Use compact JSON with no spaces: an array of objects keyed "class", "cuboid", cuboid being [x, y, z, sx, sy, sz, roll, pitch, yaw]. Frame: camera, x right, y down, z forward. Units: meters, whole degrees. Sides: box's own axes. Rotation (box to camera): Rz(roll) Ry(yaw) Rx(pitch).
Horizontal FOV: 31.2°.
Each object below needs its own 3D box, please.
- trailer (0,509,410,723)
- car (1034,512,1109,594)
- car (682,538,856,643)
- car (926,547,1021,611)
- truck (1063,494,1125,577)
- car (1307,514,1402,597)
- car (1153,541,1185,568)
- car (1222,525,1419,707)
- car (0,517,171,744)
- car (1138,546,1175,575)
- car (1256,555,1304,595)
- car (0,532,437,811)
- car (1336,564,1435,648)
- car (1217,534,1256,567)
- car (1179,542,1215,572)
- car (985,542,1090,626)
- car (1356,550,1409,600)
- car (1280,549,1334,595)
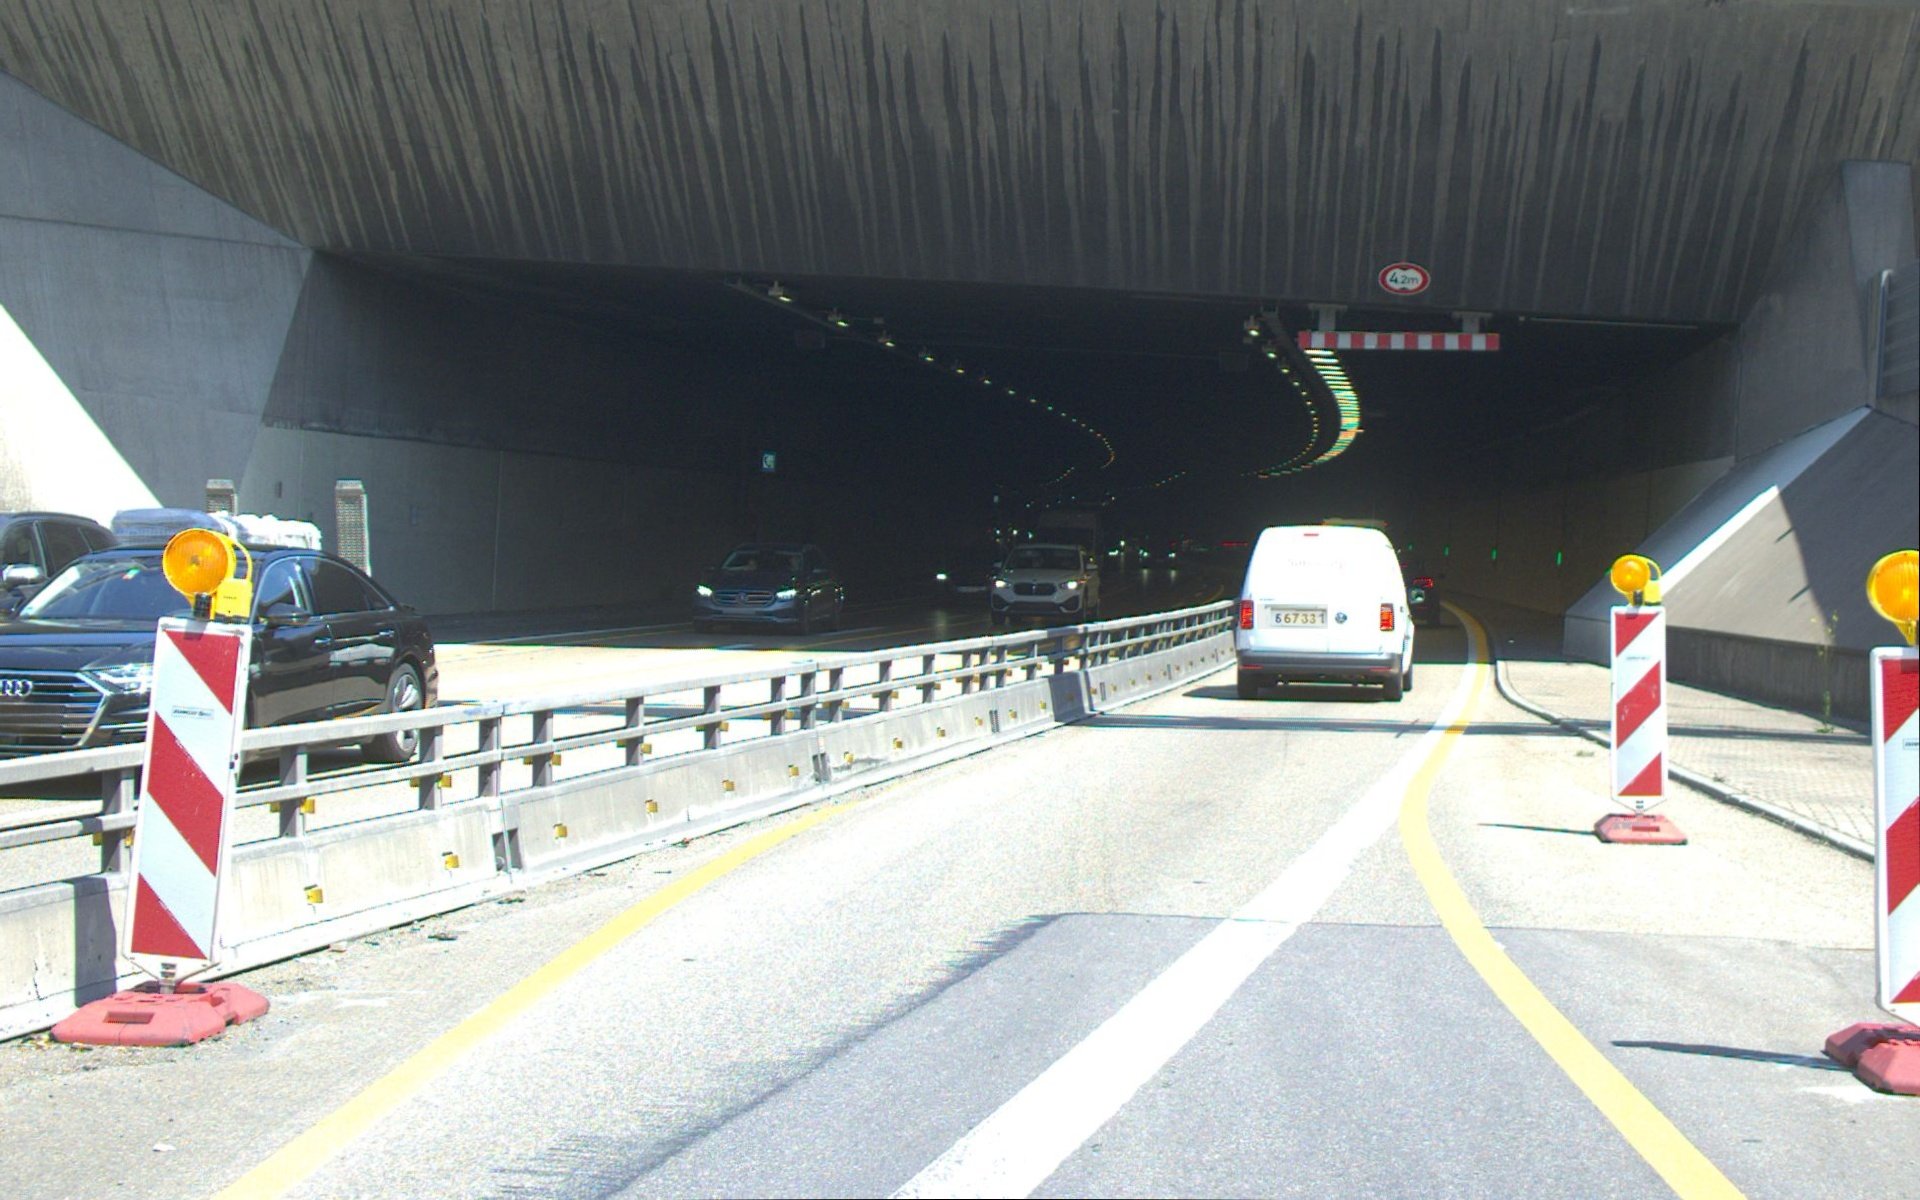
[{"class":"trailer","cuboid":[-7.000,0.089,32.036,1.947,1.799,5.520,1,1,11]},{"class":"car","cuboid":[3.573,-1.493,108.919,1.994,2.506,6.041,1,1,5]},{"class":"car","cuboid":[-3.129,-0.191,57.324,1.774,1.661,4.805,1,1,11]},{"class":"car","cuboid":[0.357,-0.539,84.110,1.774,1.510,4.563,1,1,7]},{"class":"truck","cuboid":[6.453,-3.076,164.727,2.810,3.902,6.455,1,1,3]},{"class":"car","cuboid":[14.729,-1.641,128.939,2.814,2.764,7.100,4,0,2]},{"class":"car","cuboid":[15.860,-3.451,260.879,2.073,2.014,4.662,1,1,-1]},{"class":"car","cuboid":[3.944,0.159,37.148,1.809,1.788,3.729,3,0,10]},{"class":"car","cuboid":[-8.012,0.208,26.918,1.774,1.721,4.865,1,1,11]},{"class":"car","cuboid":[10.124,-2.060,177.223,1.821,1.451,4.093,1,1,3]},{"class":"car","cuboid":[16.771,-1.338,180.502,1.940,2.014,4.662,1,1,-1]},{"class":"car","cuboid":[-4.989,0.363,22.275,1.774,1.588,4.984,1,1,8]},{"class":"car","cuboid":[8.452,0.114,68.287,1.809,1.532,4.408,3,0,7]},{"class":"car","cuboid":[17.318,-3.115,215.270,1.940,2.014,4.662,1,1,-1]},{"class":"car","cuboid":[16.476,-3.014,239.423,2.073,2.014,4.662,1,1,-1]},{"class":"car","cuboid":[1.557,-0.348,67.299,1.774,1.572,4.446,1,1,5]},{"class":"car","cuboid":[13.311,-0.801,108.364,1.599,1.541,3.677,1,1,7]},{"class":"car","cuboid":[16.670,-1.365,165.313,2.035,2.014,4.631,5,1,1]}]
